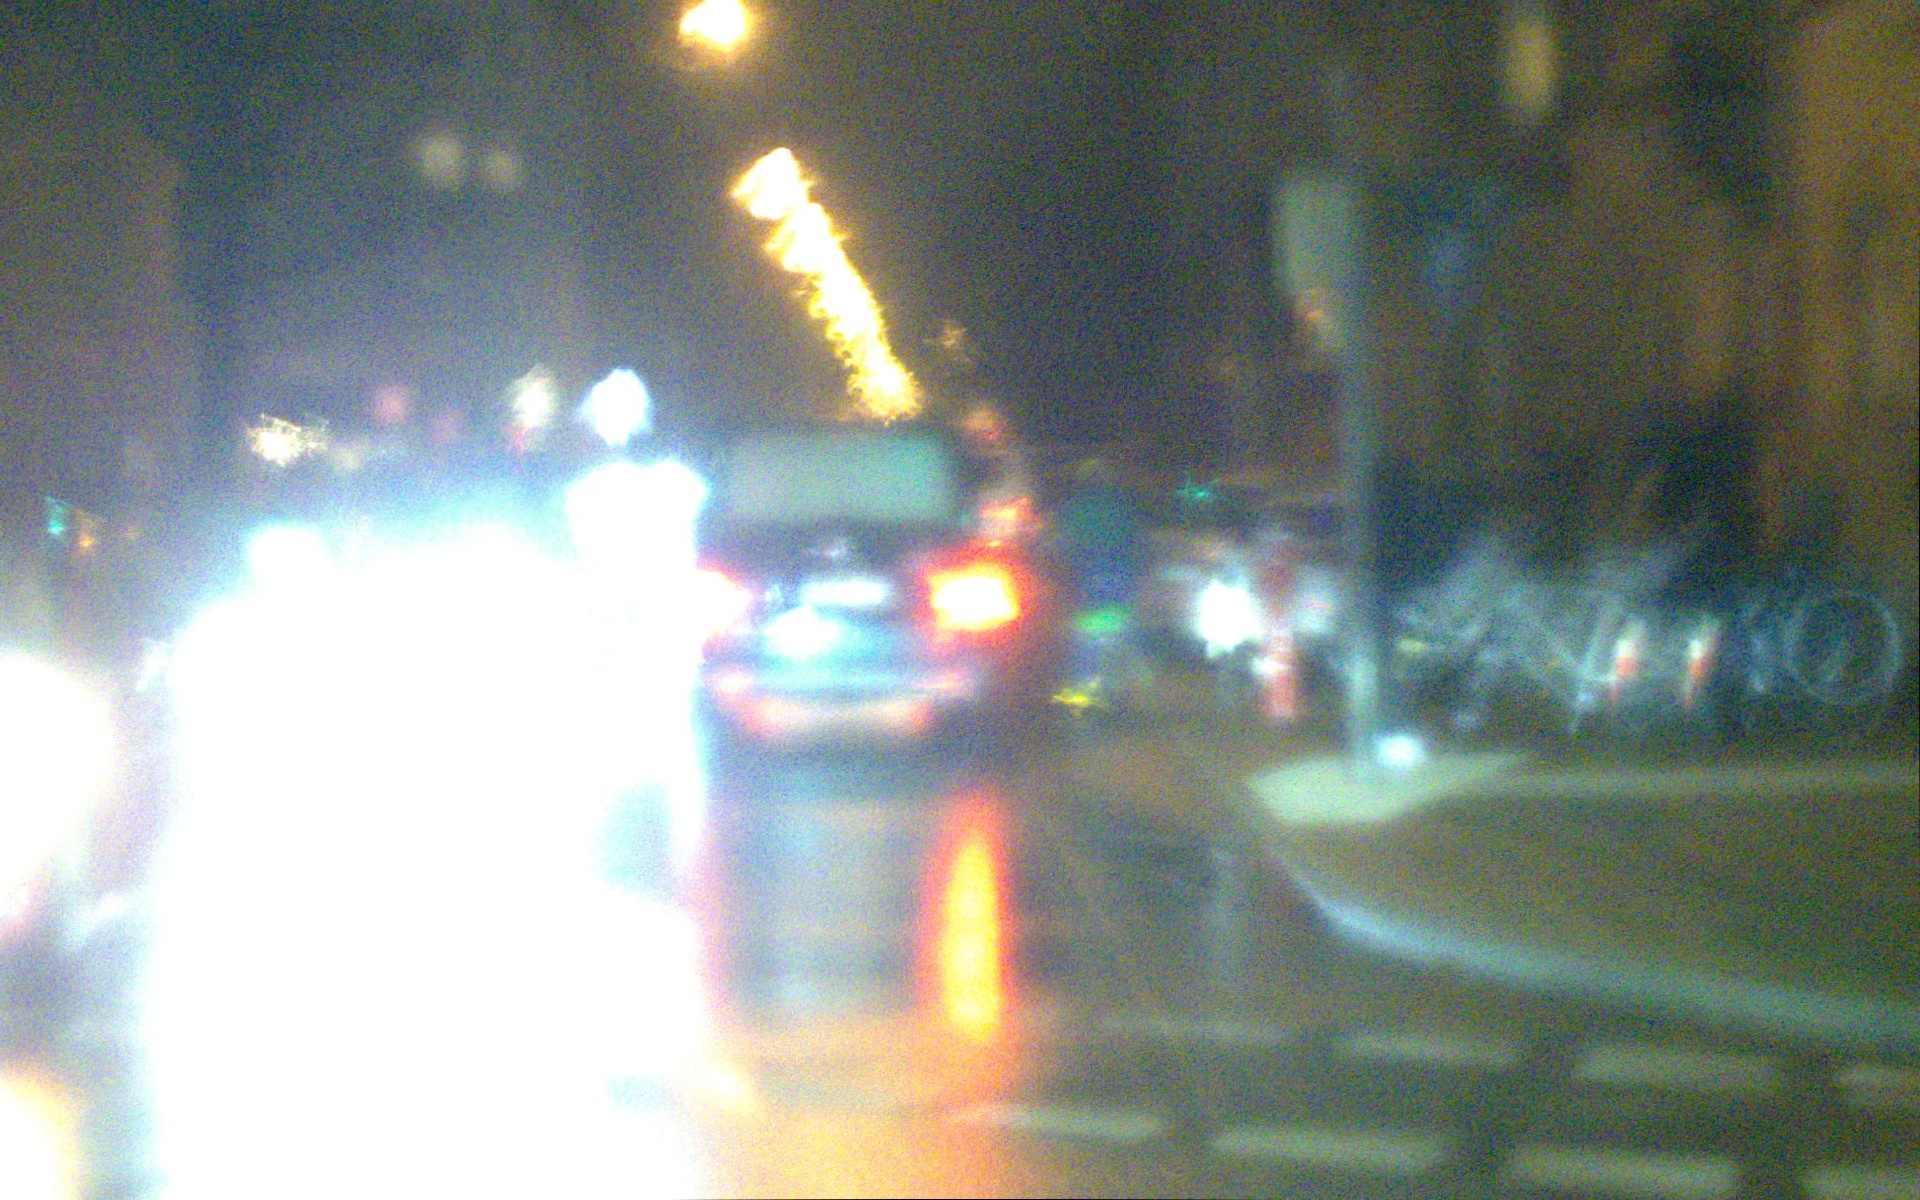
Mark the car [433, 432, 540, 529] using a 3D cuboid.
[{"bbox_3d":[-9.956,-2.533,72.100,1.724,1.965,3.729,-1,3,-15],"label":"car"}]

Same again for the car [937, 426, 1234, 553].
[{"bbox_3d":[1.879,-1.650,50.660,4.174,1.639,1.769,-5,4,-38],"label":"car"}]

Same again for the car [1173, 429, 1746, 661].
[{"bbox_3d":[3.791,-0.466,25.738,4.174,1.452,1.857,-5,4,-38],"label":"car"}]

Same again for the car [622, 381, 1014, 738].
[{"bbox_3d":[-0.829,-0.330,21.517,2.168,1.965,4.303,-1,3,-1],"label":"car"}]

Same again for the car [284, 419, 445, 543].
[{"bbox_3d":[-9.915,-2.001,57.003,1.990,1.965,4.304,-1,3,-18],"label":"car"}]

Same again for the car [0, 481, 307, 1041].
[{"bbox_3d":[-3.455,0.403,11.823,1.668,1.556,4.008,-1,3,-1],"label":"car"}]

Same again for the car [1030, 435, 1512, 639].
[{"bbox_3d":[2.872,-0.619,31.344,4.173,1.584,1.731,-4,4,-34],"label":"car"}]

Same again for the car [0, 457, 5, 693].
[{"bbox_3d":[-6.972,-0.059,19.583,1.763,1.481,4.060,-1,3,2],"label":"car"}]

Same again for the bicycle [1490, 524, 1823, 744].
[{"bbox_3d":[4.322,0.202,21.375,1.896,1.247,0.596,-3,2,-5],"label":"bicycle"}]

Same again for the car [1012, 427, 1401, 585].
[{"bbox_3d":[2.908,-1.139,40.568,4.171,1.639,1.771,-3,4,-21],"label":"car"}]

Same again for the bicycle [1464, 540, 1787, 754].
[{"bbox_3d":[4.253,0.292,22.022,1.896,1.247,0.596,-3,2,-5],"label":"bicycle"}]

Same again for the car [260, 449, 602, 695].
[{"bbox_3d":[-3.644,-0.283,24.480,1.787,1.548,4.855,-1,3,-2],"label":"car"}]

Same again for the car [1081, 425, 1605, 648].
[{"bbox_3d":[3.227,-0.578,28.563,4.174,1.571,1.882,-5,4,-38],"label":"car"}]

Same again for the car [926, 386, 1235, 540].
[{"bbox_3d":[2.089,-2.362,58.571,4.996,2.383,2.139,-5,4,-38],"label":"car"}]

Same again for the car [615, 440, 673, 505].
[{"bbox_3d":[-9.922,-4.025,108.006,1.724,1.965,4.222,-1,3,-4],"label":"car"}]

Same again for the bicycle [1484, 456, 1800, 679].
[{"bbox_3d":[4.473,-0.221,22.582,1.896,1.355,0.596,-3,2,-5],"label":"bicycle"}]

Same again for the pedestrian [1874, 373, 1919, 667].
[{"bbox_3d":[6.580,-0.542,22.435,0.957,1.875,1.000,-1,3,0],"label":"pedestrian"}]

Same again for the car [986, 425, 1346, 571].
[{"bbox_3d":[2.628,-1.326,43.884,4.171,1.639,1.771,-3,4,-21],"label":"car"}]

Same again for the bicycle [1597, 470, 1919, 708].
[{"bbox_3d":[4.700,-0.076,19.692,1.896,1.247,0.711,-3,2,-5],"label":"bicycle"}]

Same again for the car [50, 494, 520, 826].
[{"bbox_3d":[-3.294,0.207,17.515,1.668,1.415,4.098,-1,3,-2],"label":"car"}]

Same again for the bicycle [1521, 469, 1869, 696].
[{"bbox_3d":[4.384,-0.116,20.556,1.896,1.247,0.596,-3,2,-5],"label":"bicycle"}]
